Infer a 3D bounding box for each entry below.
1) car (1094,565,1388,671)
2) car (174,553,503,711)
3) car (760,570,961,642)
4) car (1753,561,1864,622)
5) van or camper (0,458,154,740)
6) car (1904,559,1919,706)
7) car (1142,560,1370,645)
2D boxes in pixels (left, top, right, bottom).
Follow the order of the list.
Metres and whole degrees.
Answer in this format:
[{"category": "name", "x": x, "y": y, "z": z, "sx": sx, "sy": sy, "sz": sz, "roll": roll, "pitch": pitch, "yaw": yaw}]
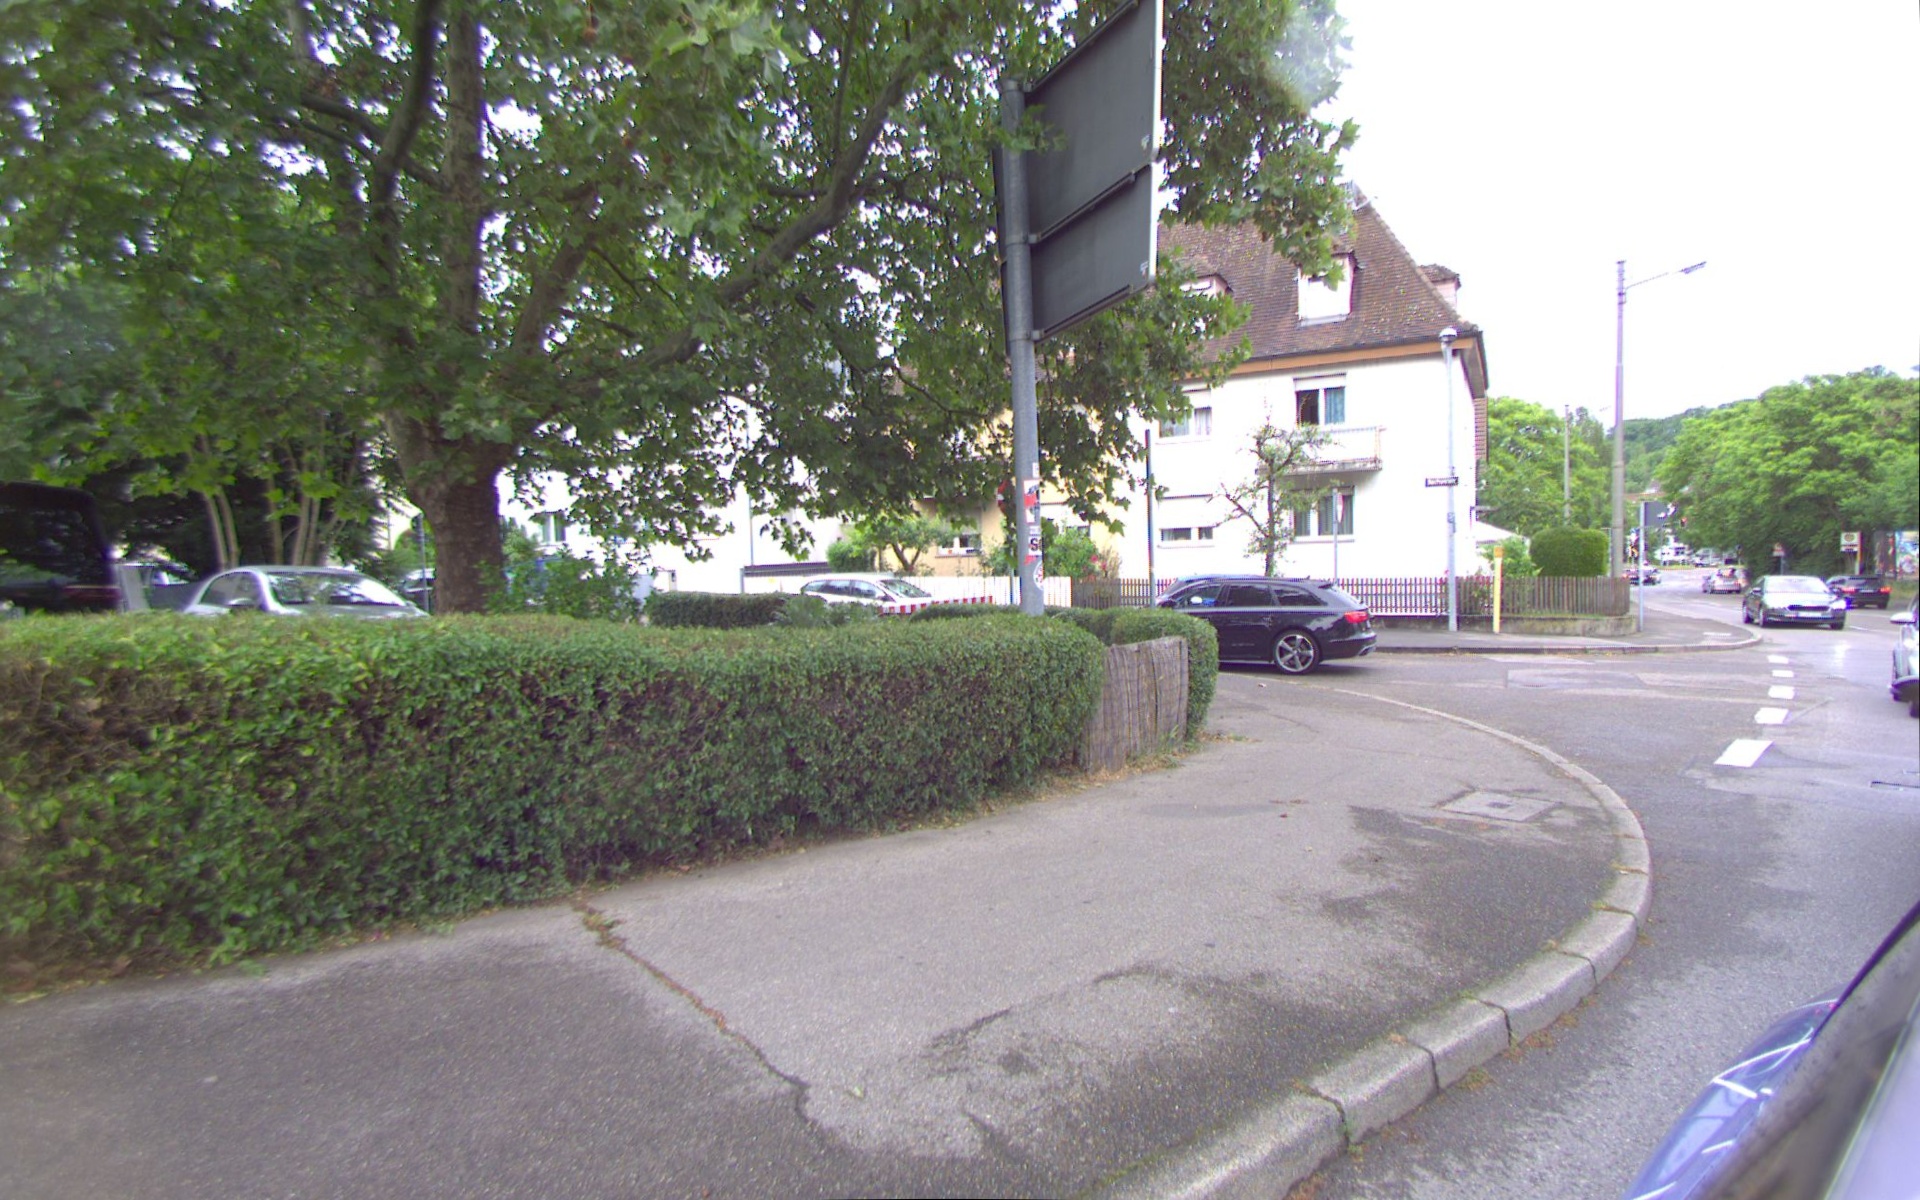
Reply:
[{"category": "car", "x": 4.555, "y": 0.229, "z": 16.466, "sx": 4.350, "sy": 1.532, "sz": 1.982, "roll": 0, "pitch": 1, "yaw": 27}, {"category": "car", "x": -7.161, "y": 0.265, "z": 11.545, "sx": 3.979, "sy": 1.482, "sz": 1.973, "roll": 1, "pitch": 1, "yaw": 38}, {"category": "car", "x": -2.344, "y": 0.097, "z": 23.589, "sx": 4.356, "sy": 1.532, "sz": 1.979, "roll": 0, "pitch": 1, "yaw": 30}, {"category": "car", "x": 23.542, "y": -0.253, "z": 28.218, "sx": 1.694, "sy": 1.577, "sz": 3.957, "roll": 0, "pitch": 1, "yaw": 30}, {"category": "van or camper", "x": -8.491, "y": -0.019, "z": 7.819, "sx": 4.286, "sy": 1.927, "sz": 1.981, "roll": 0, "pitch": 1, "yaw": 27}, {"category": "car", "x": 12.027, "y": 0.332, "z": 11.640, "sx": 1.639, "sy": 1.577, "sz": 3.573, "roll": 1, "pitch": 1, "yaw": 42}, {"category": "car", "x": 5.664, "y": -0.010, "z": 19.387, "sx": 3.960, "sy": 1.482, "sz": 1.845, "roll": 1, "pitch": 2, "yaw": 26}]
